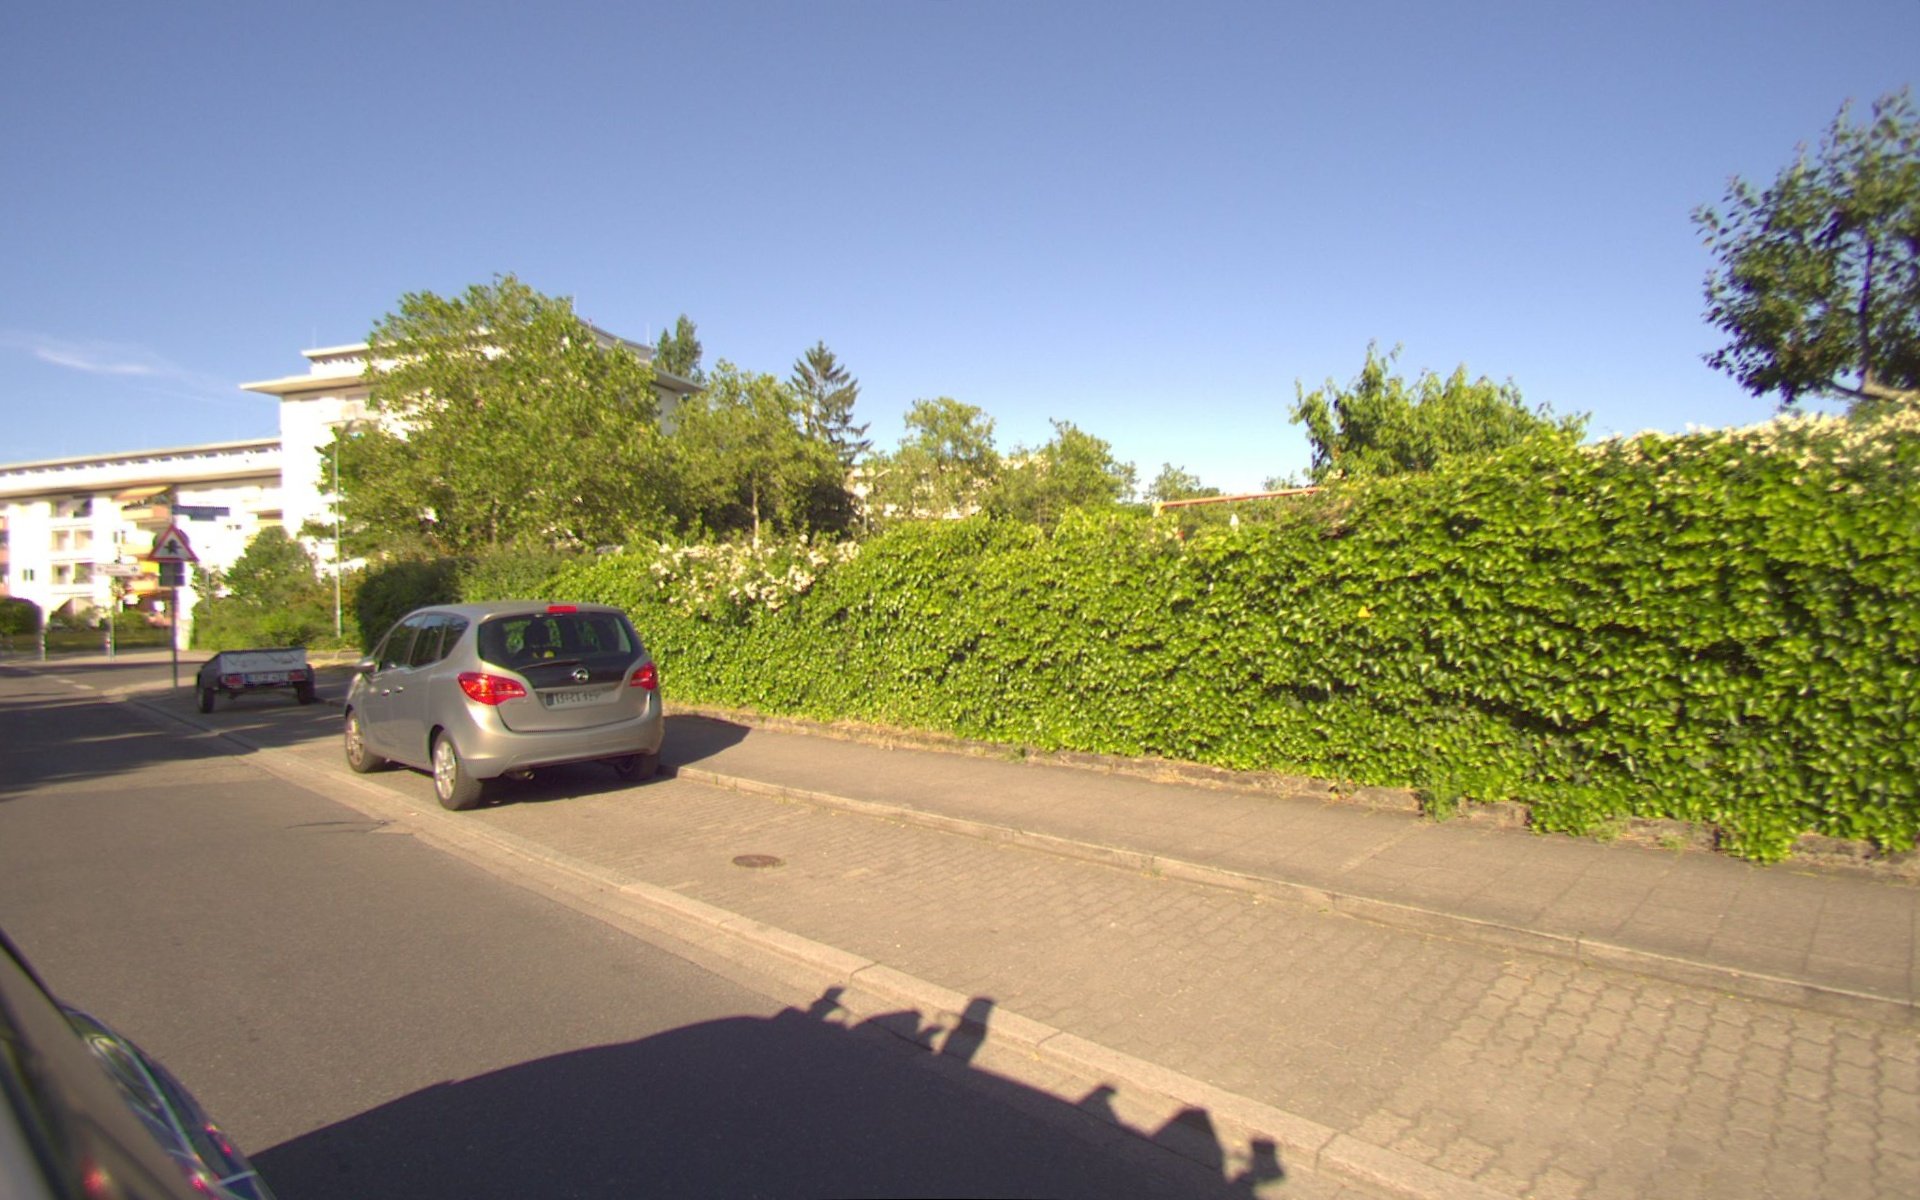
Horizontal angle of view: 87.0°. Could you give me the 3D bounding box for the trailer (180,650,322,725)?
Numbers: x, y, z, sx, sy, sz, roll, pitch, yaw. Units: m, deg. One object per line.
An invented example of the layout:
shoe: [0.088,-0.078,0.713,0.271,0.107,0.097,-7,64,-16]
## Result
trailer: [-11.714,1.389,16.673,1.526,0.960,2.649,-3,1,-43]

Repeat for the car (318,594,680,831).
car: [-4.373,0.822,9.203,1.624,1.612,4.315,-2,1,-44]
